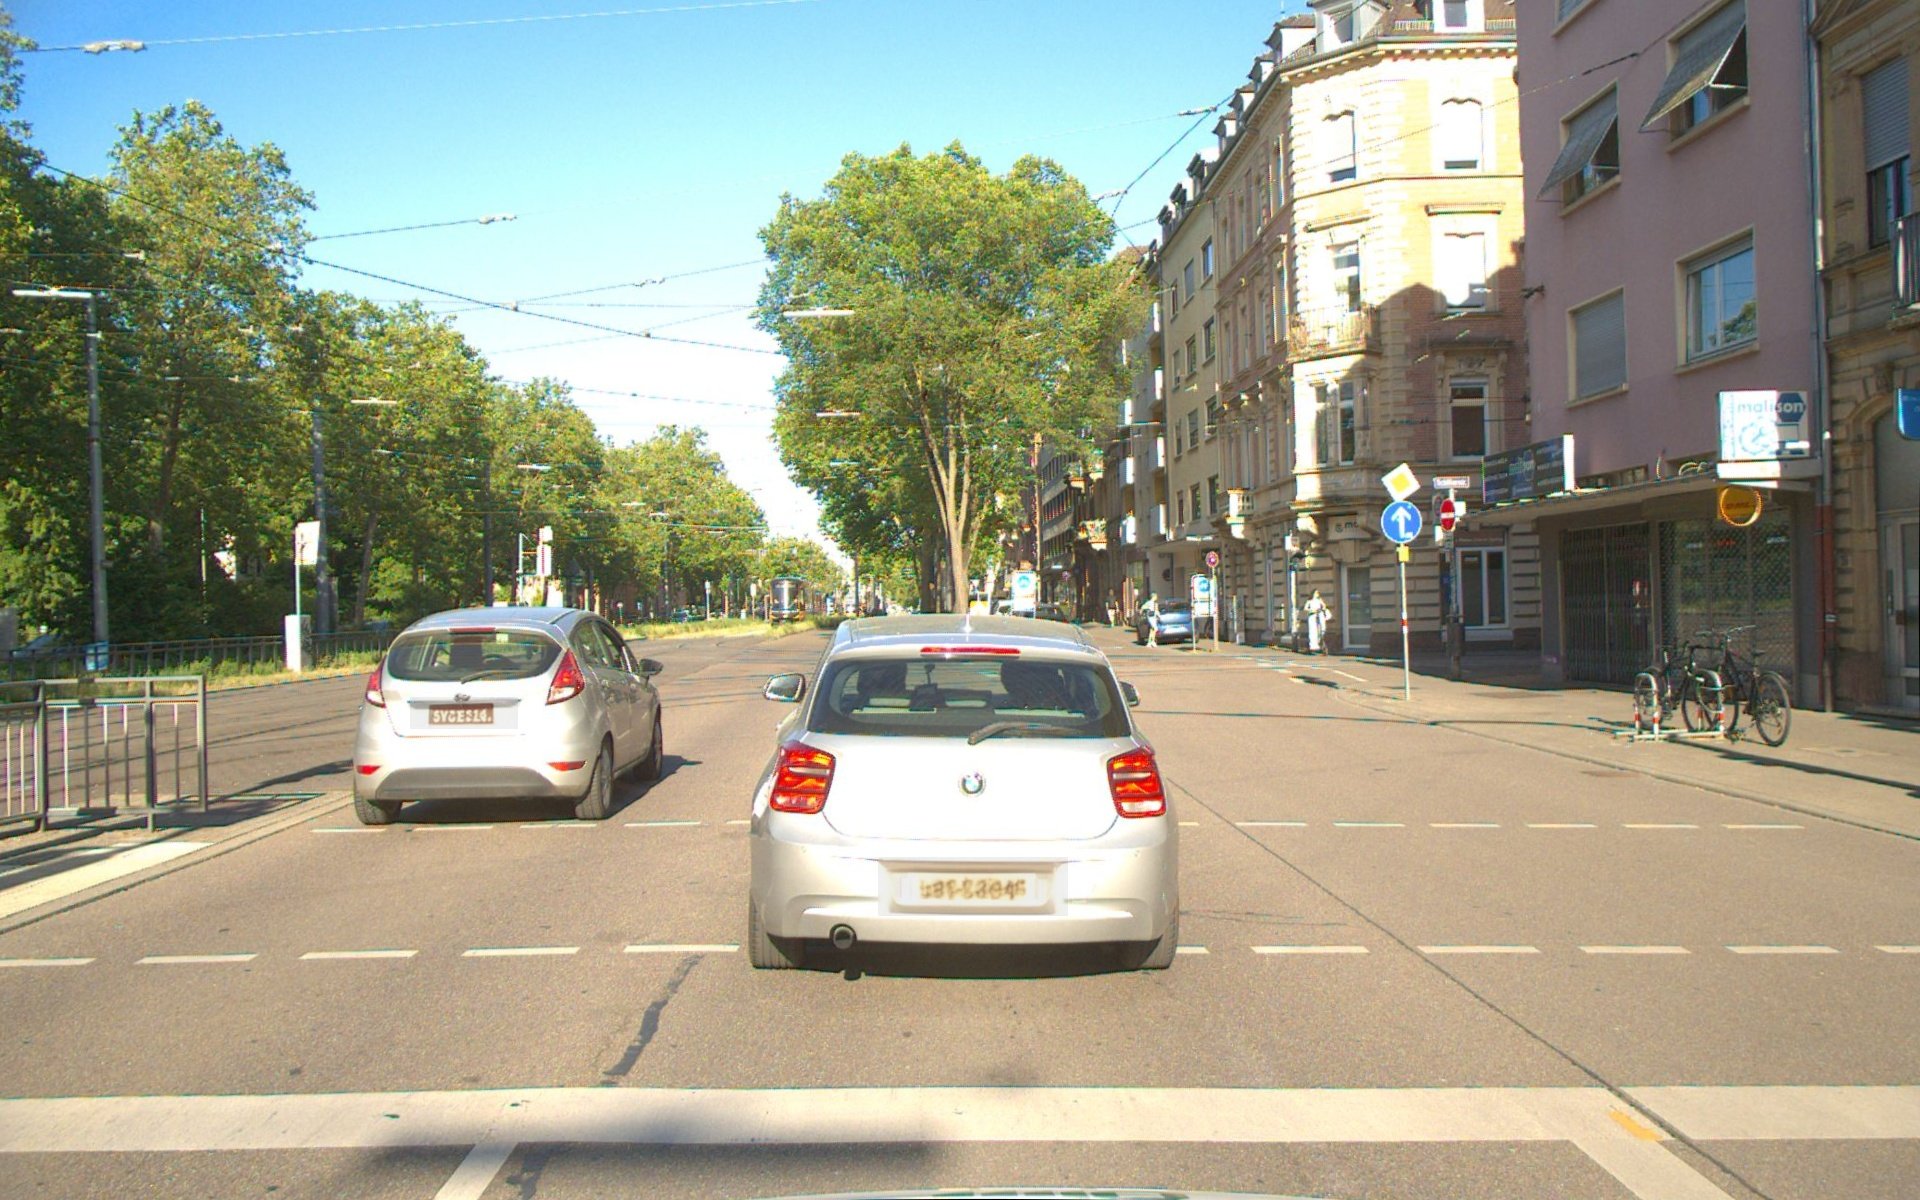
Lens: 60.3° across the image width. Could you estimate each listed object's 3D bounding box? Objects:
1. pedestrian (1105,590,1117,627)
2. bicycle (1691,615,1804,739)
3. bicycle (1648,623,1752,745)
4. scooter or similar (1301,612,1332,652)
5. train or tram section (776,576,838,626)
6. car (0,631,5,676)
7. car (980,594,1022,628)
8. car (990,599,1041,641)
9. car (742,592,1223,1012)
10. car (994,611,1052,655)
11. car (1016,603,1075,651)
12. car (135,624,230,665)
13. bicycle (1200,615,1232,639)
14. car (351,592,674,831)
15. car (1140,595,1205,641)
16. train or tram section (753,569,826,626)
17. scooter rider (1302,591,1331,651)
[{"bbox_3d":[7.609,0.416,83.346,0.495,1.833,0.805,-1,0,-2],"label":"pedestrian"},{"bbox_3d":[8.088,0.764,17.049,0.439,1.179,1.759,-1,0,5],"label":"bicycle"},{"bbox_3d":[7.599,0.834,17.042,0.405,1.161,1.810,-1,0,5],"label":"bicycle"},{"bbox_3d":[9.239,0.812,42.910,0.331,1.005,1.281,-1,0,-9],"label":"scooter or similar"},{"bbox_3d":[-12.863,0.111,141.233,3.924,3.933,17.484,-1,0,-1],"label":"train or tram section"},{"bbox_3d":[-29.529,1.569,47.212,1.897,1.372,4.846,-1,-1,-3],"label":"car"},{"bbox_3d":[1.873,0.486,75.679,1.690,1.533,3.553,0,0,-3],"label":"car"},{"bbox_3d":[2.074,0.752,62.884,1.690,1.533,3.553,0,0,-3],"label":"car"},{"bbox_3d":[0.044,0.728,7.911,1.705,1.493,3.999,1,0,-1],"label":"car"},{"bbox_3d":[2.152,1.131,57.219,1.709,1.458,3.553,0,0,-3],"label":"car"},{"bbox_3d":[2.635,0.823,51.727,1.700,1.458,3.678,0,0,1],"label":"car"},{"bbox_3d":[-30.687,1.756,65.405,1.897,1.536,4.276,-1,-1,-3],"label":"car"},{"bbox_3d":[8.982,0.937,58.010,0.739,0.784,1.944,-1,0,-2],"label":"bicycle"},{"bbox_3d":[-3.195,0.714,12.531,1.577,1.493,3.887,-1,0,-3],"label":"car"},{"bbox_3d":[7.381,0.603,57.624,1.700,1.546,3.635,0,0,-2],"label":"car"},{"bbox_3d":[-12.560,-0.149,123.625,3.888,3.933,17.484,-1,0,-1],"label":"train or tram section"},{"bbox_3d":[9.243,0.544,42.846,0.457,1.531,0.809,-1,0,-8],"label":"scooter rider"}]
